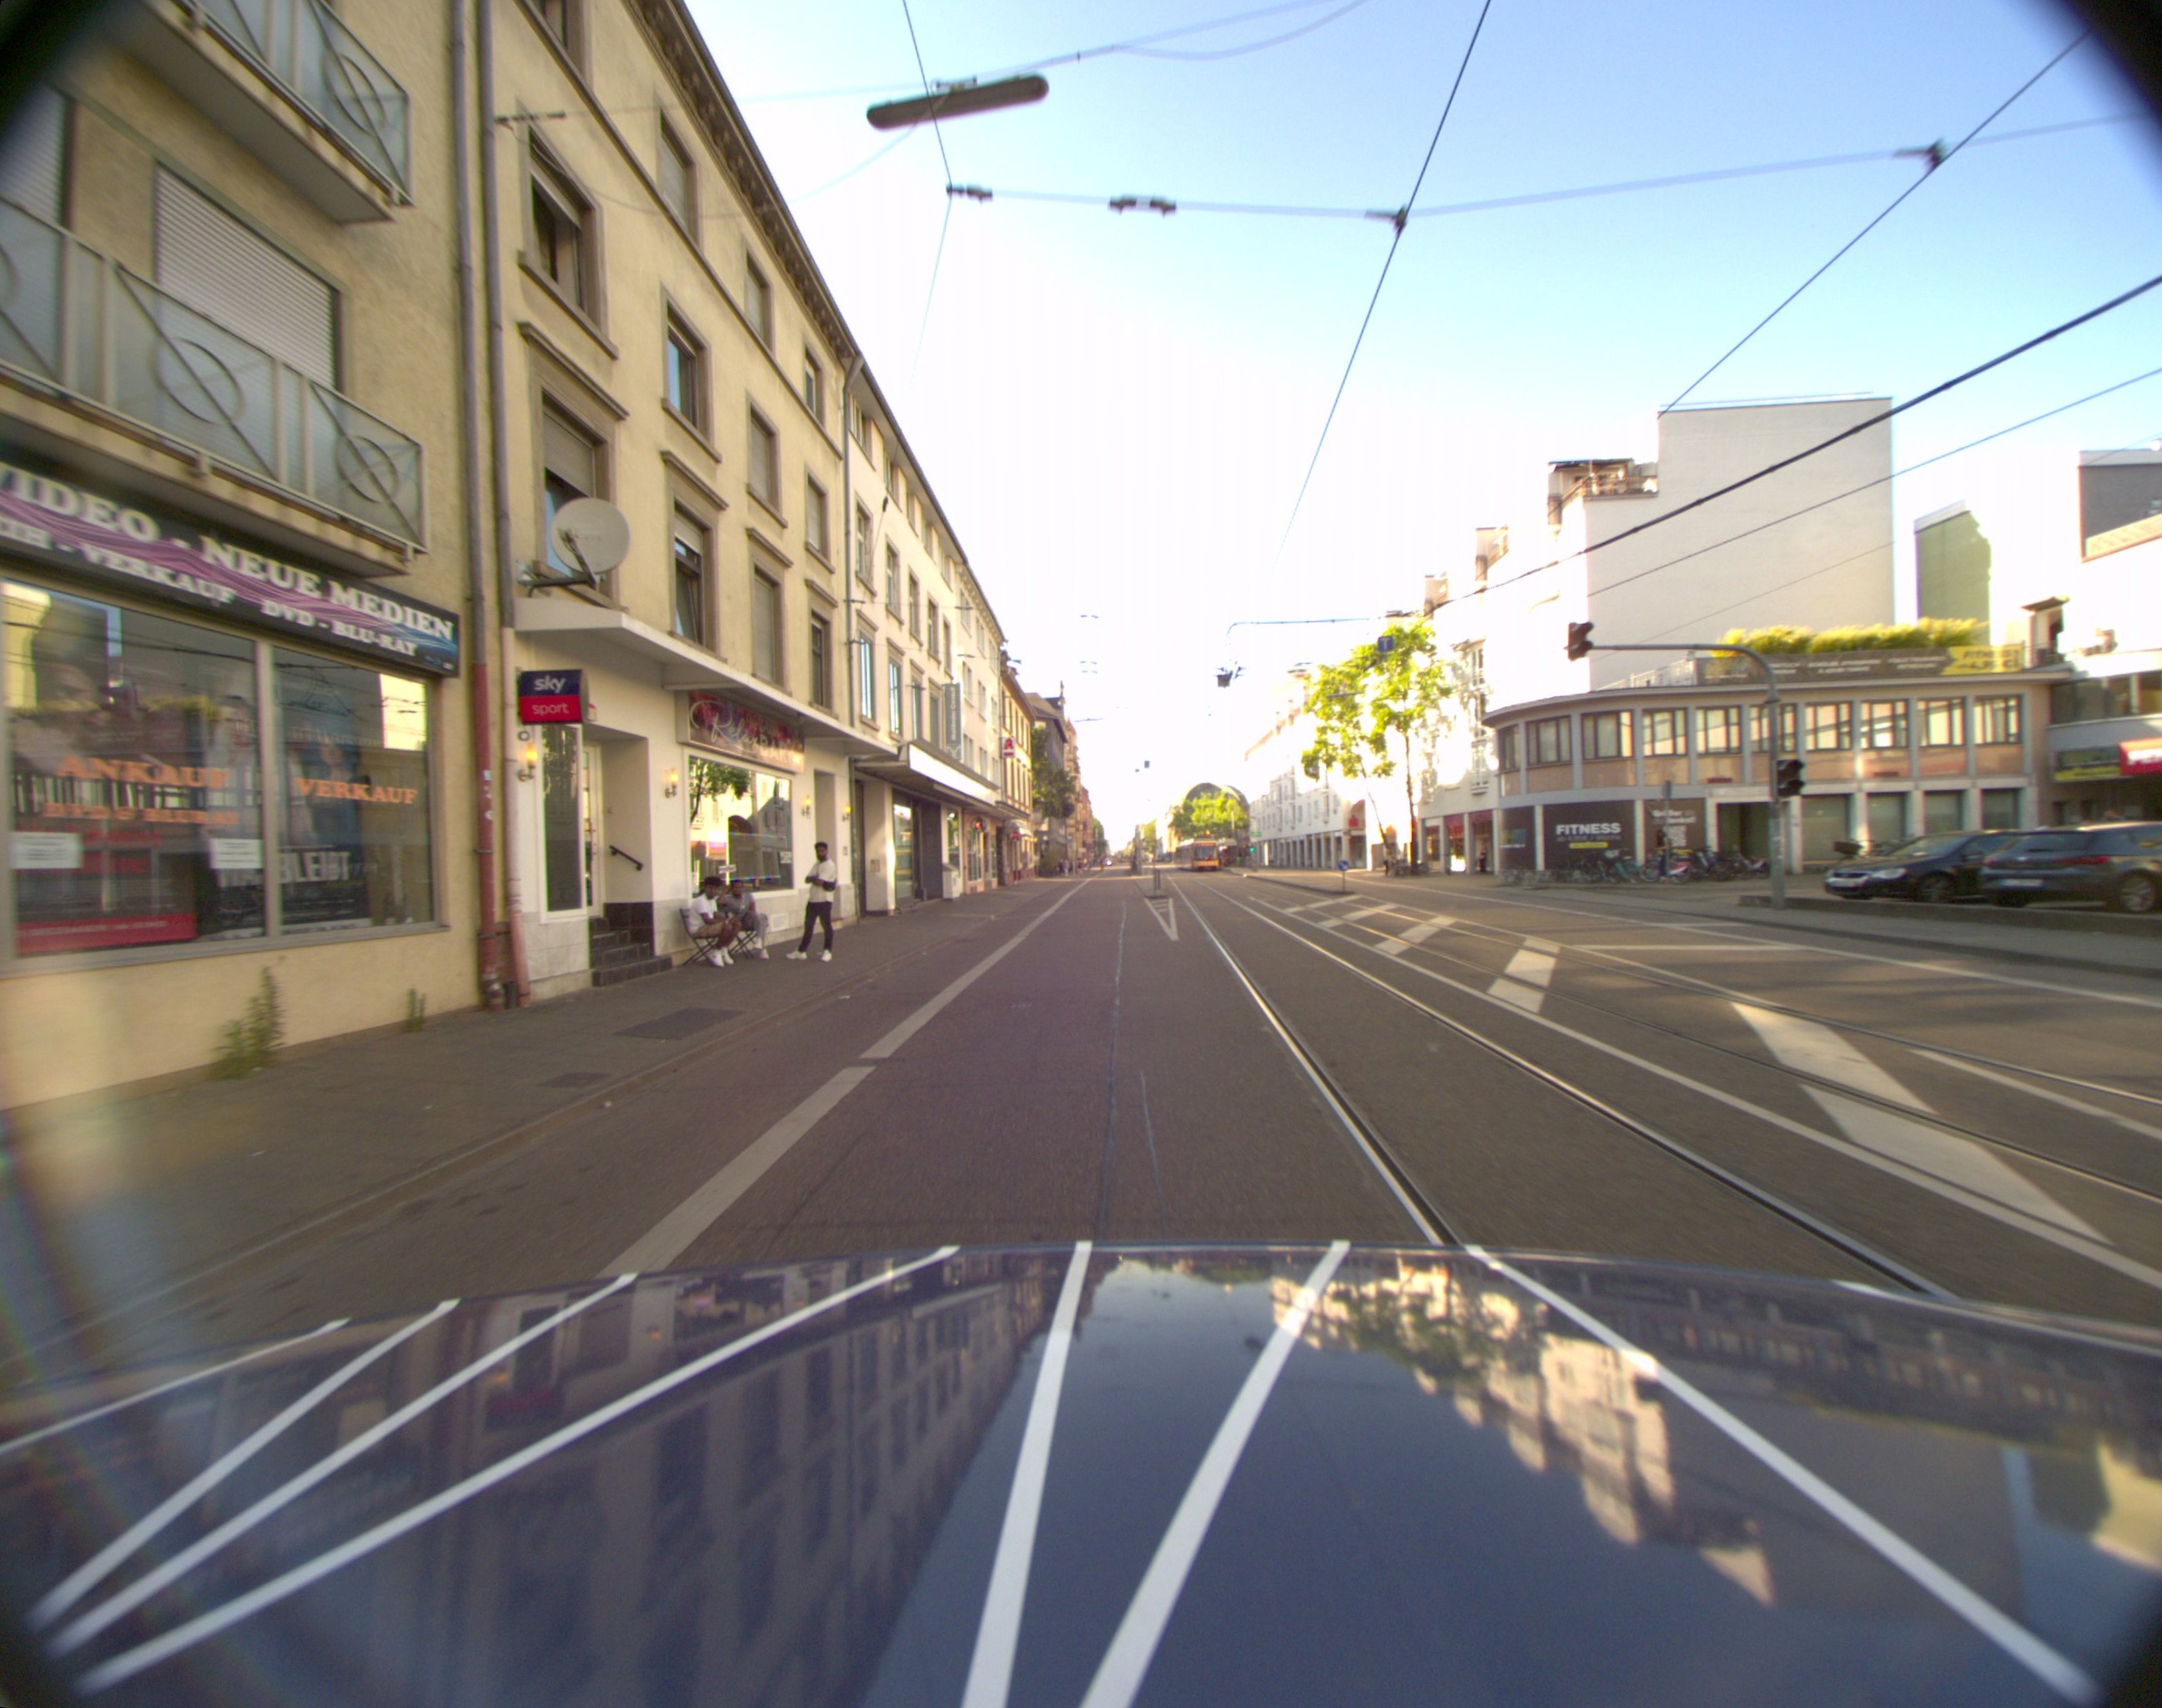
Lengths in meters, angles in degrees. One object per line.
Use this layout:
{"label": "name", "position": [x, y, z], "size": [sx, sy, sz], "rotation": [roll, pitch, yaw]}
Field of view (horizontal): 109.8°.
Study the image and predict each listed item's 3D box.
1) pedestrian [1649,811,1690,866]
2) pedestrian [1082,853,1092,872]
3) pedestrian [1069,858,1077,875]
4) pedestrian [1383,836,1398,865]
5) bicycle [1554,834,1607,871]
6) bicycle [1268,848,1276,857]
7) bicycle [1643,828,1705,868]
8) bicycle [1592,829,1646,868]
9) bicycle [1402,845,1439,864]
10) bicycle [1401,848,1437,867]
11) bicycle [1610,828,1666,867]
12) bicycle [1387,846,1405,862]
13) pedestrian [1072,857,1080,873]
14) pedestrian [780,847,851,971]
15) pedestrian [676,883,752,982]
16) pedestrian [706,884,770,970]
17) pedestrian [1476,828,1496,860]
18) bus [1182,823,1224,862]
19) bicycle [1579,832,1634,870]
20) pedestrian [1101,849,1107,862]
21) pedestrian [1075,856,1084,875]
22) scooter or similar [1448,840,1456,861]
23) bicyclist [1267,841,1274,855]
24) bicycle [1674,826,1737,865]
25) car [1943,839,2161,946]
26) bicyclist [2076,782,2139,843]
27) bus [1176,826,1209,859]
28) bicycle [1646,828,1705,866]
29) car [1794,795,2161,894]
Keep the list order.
{"label": "pedestrian", "position": [18.590, -0.486, 24.023], "size": [0.682, 1.687, 0.683], "rotation": [-3, 1, 1]}
{"label": "pedestrian", "position": [0.596, 0.792, 71.510], "size": [0.807, 1.790, 0.761], "rotation": [-4, 1, 4]}
{"label": "pedestrian", "position": [-0.780, 1.157, 71.308], "size": [0.651, 1.569, 0.682], "rotation": [-4, 1, -4]}
{"label": "pedestrian", "position": [18.360, -0.207, 45.131], "size": [0.630, 1.706, 0.826], "rotation": [-3, 1, 31]}
{"label": "bicycle", "position": [16.737, -0.055, 25.517], "size": [0.446, 1.180, 1.831], "rotation": [-3, 0, -3]}
{"label": "bicycle", "position": [22.707, -0.231, 90.437], "size": [0.518, 0.983, 1.727], "rotation": [-5, 1, 4]}
{"label": "bicycle", "position": [18.588, -0.173, 23.866], "size": [0.449, 1.180, 1.831], "rotation": [-3, 0, 0]}
{"label": "bicycle", "position": [17.637, -0.176, 24.958], "size": [0.449, 1.180, 1.831], "rotation": [-3, 0, 0]}
{"label": "bicycle", "position": [19.327, 0.019, 43.293], "size": [1.849, 0.907, 0.389], "rotation": [-5, 1, 9]}
{"label": "bicycle", "position": [19.715, 0.206, 44.354], "size": [1.849, 0.907, 0.389], "rotation": [-5, 0, 9]}
{"label": "bicycle", "position": [18.072, -0.207, 24.702], "size": [0.444, 1.180, 1.831], "rotation": [-3, 0, 0]}
{"label": "bicycle", "position": [18.483, -0.004, 44.622], "size": [0.389, 0.907, 1.851], "rotation": [-5, 1, 4]}
{"label": "pedestrian", "position": [-0.541, 1.192, 82.125], "size": [0.650, 1.761, 0.697], "rotation": [-3, 1, 8]}
{"label": "pedestrian", "position": [-4.057, 0.816, 11.627], "size": [0.705, 1.802, 0.680], "rotation": [2, 1, 19]}
{"label": "pedestrian", "position": [-5.020, 1.045, 10.389], "size": [0.832, 1.248, 0.705], "rotation": [2, 1, -32]}
{"label": "pedestrian", "position": [-5.123, 1.071, 11.411], "size": [0.707, 1.168, 1.014], "rotation": [2, 1, -16]}
{"label": "pedestrian", "position": [22.134, -0.545, 41.501], "size": [0.631, 1.706, 0.825], "rotation": [-3, 1, 5]}
{"label": "bus", "position": [12.336, -1.190, 78.039], "size": [2.817, 3.547, 13.680], "rotation": [-4, 1, 4]}
{"label": "bicycle", "position": [17.202, -0.104, 24.913], "size": [0.441, 1.180, 1.831], "rotation": [-3, 0, -2]}
{"label": "pedestrian", "position": [3.166, 0.192, 104.632], "size": [0.694, 1.761, 0.697], "rotation": [-3, 1, 8]}
{"label": "pedestrian", "position": [-0.137, 1.059, 71.671], "size": [0.651, 1.706, 0.805], "rotation": [-4, 1, -4]}
{"label": "scooter or similar", "position": [20.527, -0.198, 42.012], "size": [0.335, 1.105, 1.181], "rotation": [-3, 1, 27]}
{"label": "bicyclist", "position": [22.573, -0.721, 90.413], "size": [0.514, 1.690, 0.807], "rotation": [-5, 1, 4]}
{"label": "bicycle", "position": [19.844, -0.259, 24.186], "size": [0.449, 1.180, 1.831], "rotation": [-3, 0, 0]}
{"label": "car", "position": [17.727, 0.557, 12.551], "size": [4.599, 1.467, 1.880], "rotation": [-3, 0, 4]}
{"label": "bicyclist", "position": [27.631, -1.109, 20.461], "size": [0.838, 1.540, 0.690], "rotation": [-4, 1, -13]}
{"label": "bus", "position": [13.345, -1.385, 91.566], "size": [2.817, 3.547, 13.681], "rotation": [-4, 1, 5]}
{"label": "bicycle", "position": [19.246, -0.214, 24.634], "size": [0.449, 1.180, 1.831], "rotation": [-3, 0, 0]}
{"label": "car", "position": [17.747, -0.180, 15.238], "size": [4.905, 1.574, 1.880], "rotation": [-3, 0, 4]}
